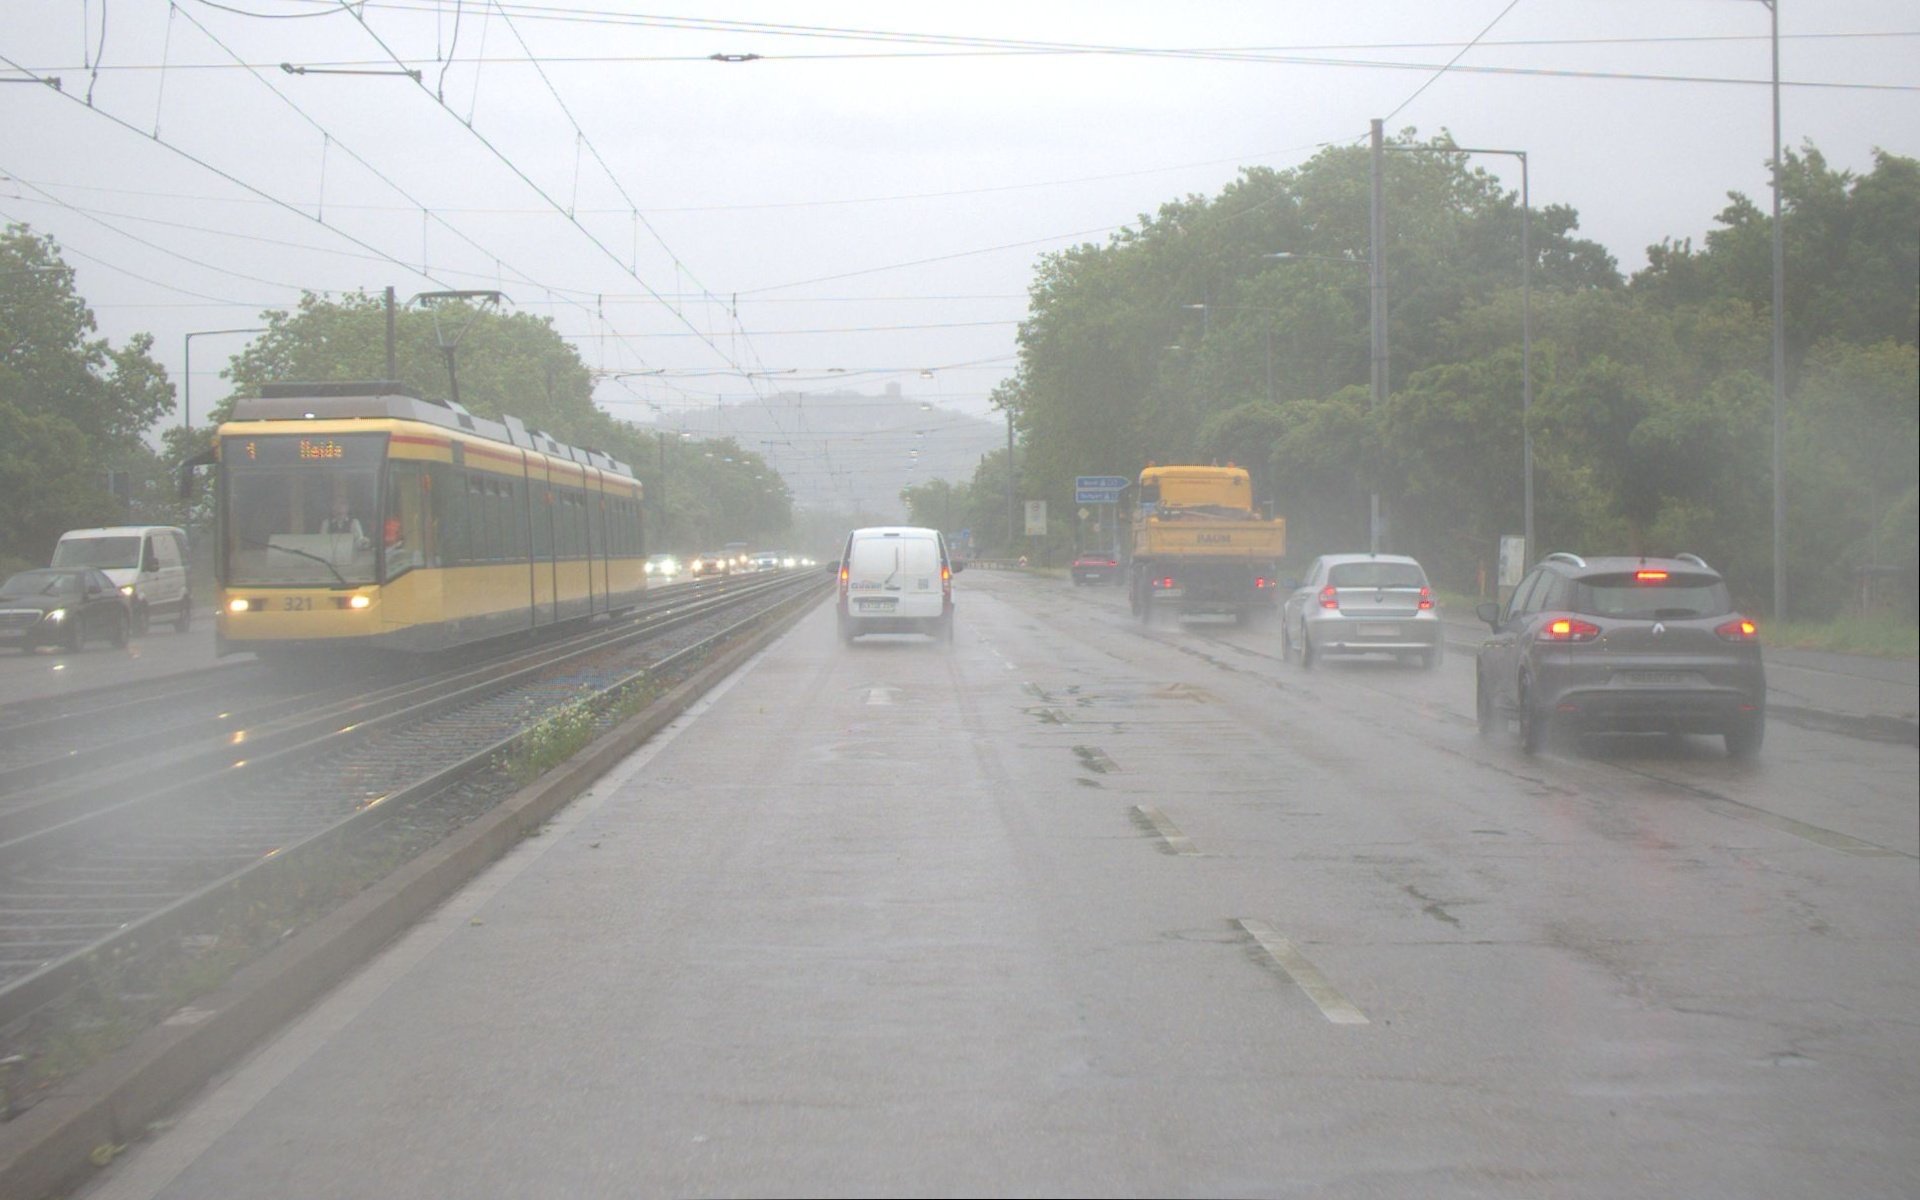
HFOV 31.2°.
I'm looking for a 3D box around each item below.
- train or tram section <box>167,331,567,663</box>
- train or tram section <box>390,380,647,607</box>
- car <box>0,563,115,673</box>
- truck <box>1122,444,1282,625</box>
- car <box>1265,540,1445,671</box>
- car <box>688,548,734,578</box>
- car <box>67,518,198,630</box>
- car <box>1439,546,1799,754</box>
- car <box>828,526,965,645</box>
[{"bbox_3d":[-7.672,-1.446,47.475,2.864,3.692,17.893,1,2,-1],"label":"train or tram section"},{"bbox_3d":[-8.140,-2.064,66.186,2.886,3.692,19.532,1,2,-1],"label":"train or tram section"},{"bbox_3d":[-15.661,0.275,58.598,1.667,1.717,3.733,1,2,-1],"label":"car"},{"bbox_3d":[4.558,-1.299,65.877,2.555,3.246,6.933,1,2,0],"label":"truck"},{"bbox_3d":[4.988,0.022,43.925,1.626,1.498,4.607,1,2,-2],"label":"car"},{"bbox_3d":[-14.005,-2.081,193.383,1.993,1.459,5.251,-3,2,2],"label":"car"},{"bbox_3d":[-17.355,-0.570,72.227,1.875,2.233,3.944,1,2,-1],"label":"car"},{"bbox_3d":[4.894,0.316,26.115,1.888,1.352,4.277,1,2,0],"label":"car"},{"bbox_3d":[-0.933,-0.251,52.516,1.989,1.678,3.740,1,2,0],"label":"car"}]
